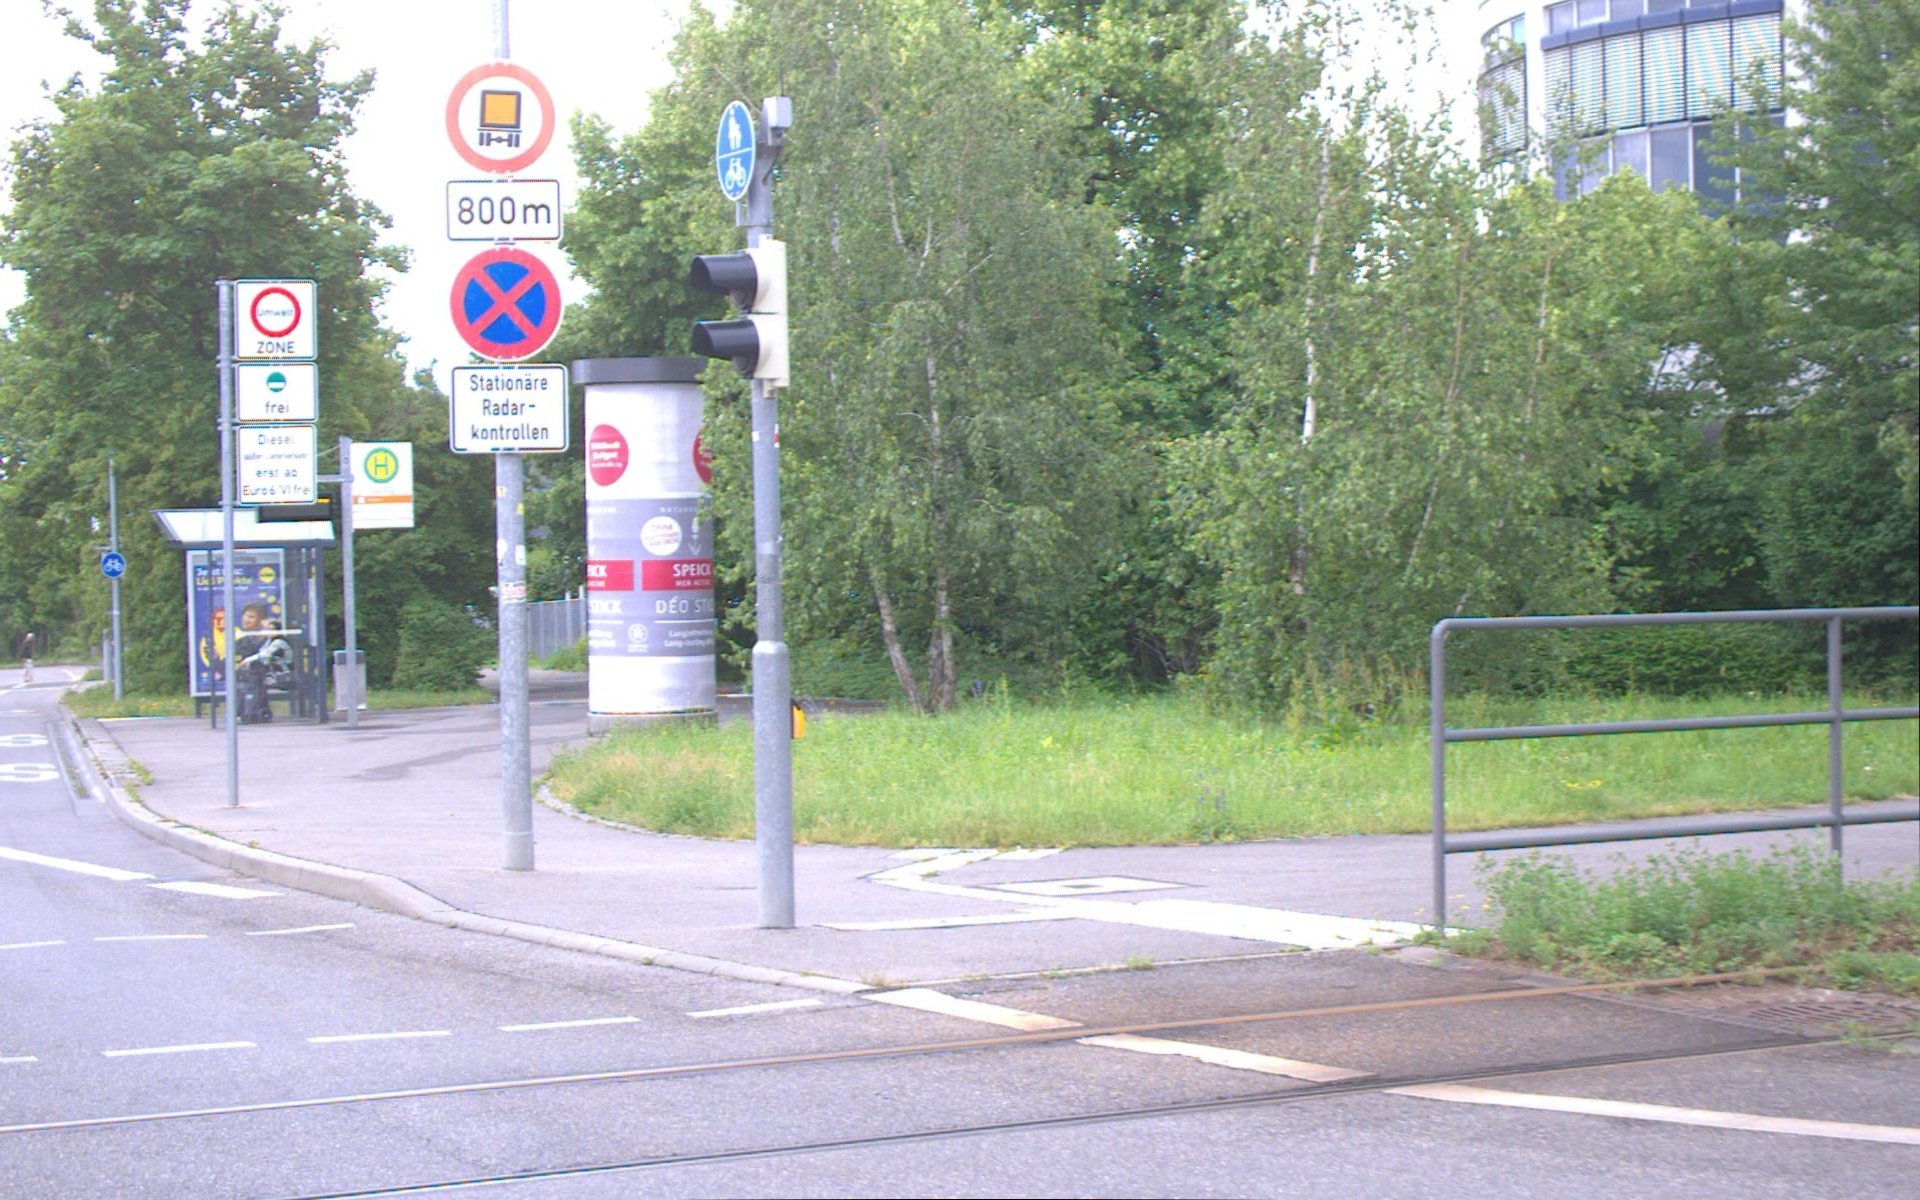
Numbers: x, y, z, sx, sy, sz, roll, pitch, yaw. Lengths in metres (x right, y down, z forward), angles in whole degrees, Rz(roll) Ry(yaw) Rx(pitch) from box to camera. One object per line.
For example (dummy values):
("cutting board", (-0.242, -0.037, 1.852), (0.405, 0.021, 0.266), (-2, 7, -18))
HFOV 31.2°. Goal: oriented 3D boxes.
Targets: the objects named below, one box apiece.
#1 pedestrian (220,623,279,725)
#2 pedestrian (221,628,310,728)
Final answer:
("pedestrian", (-9.374, 0.973, 45.337), (0.728, 1.311, 0.589), (-1, 0, -13))
("pedestrian", (-8.914, 1.000, 44.129), (0.771, 1.248, 0.774), (-2, 0, 34))
